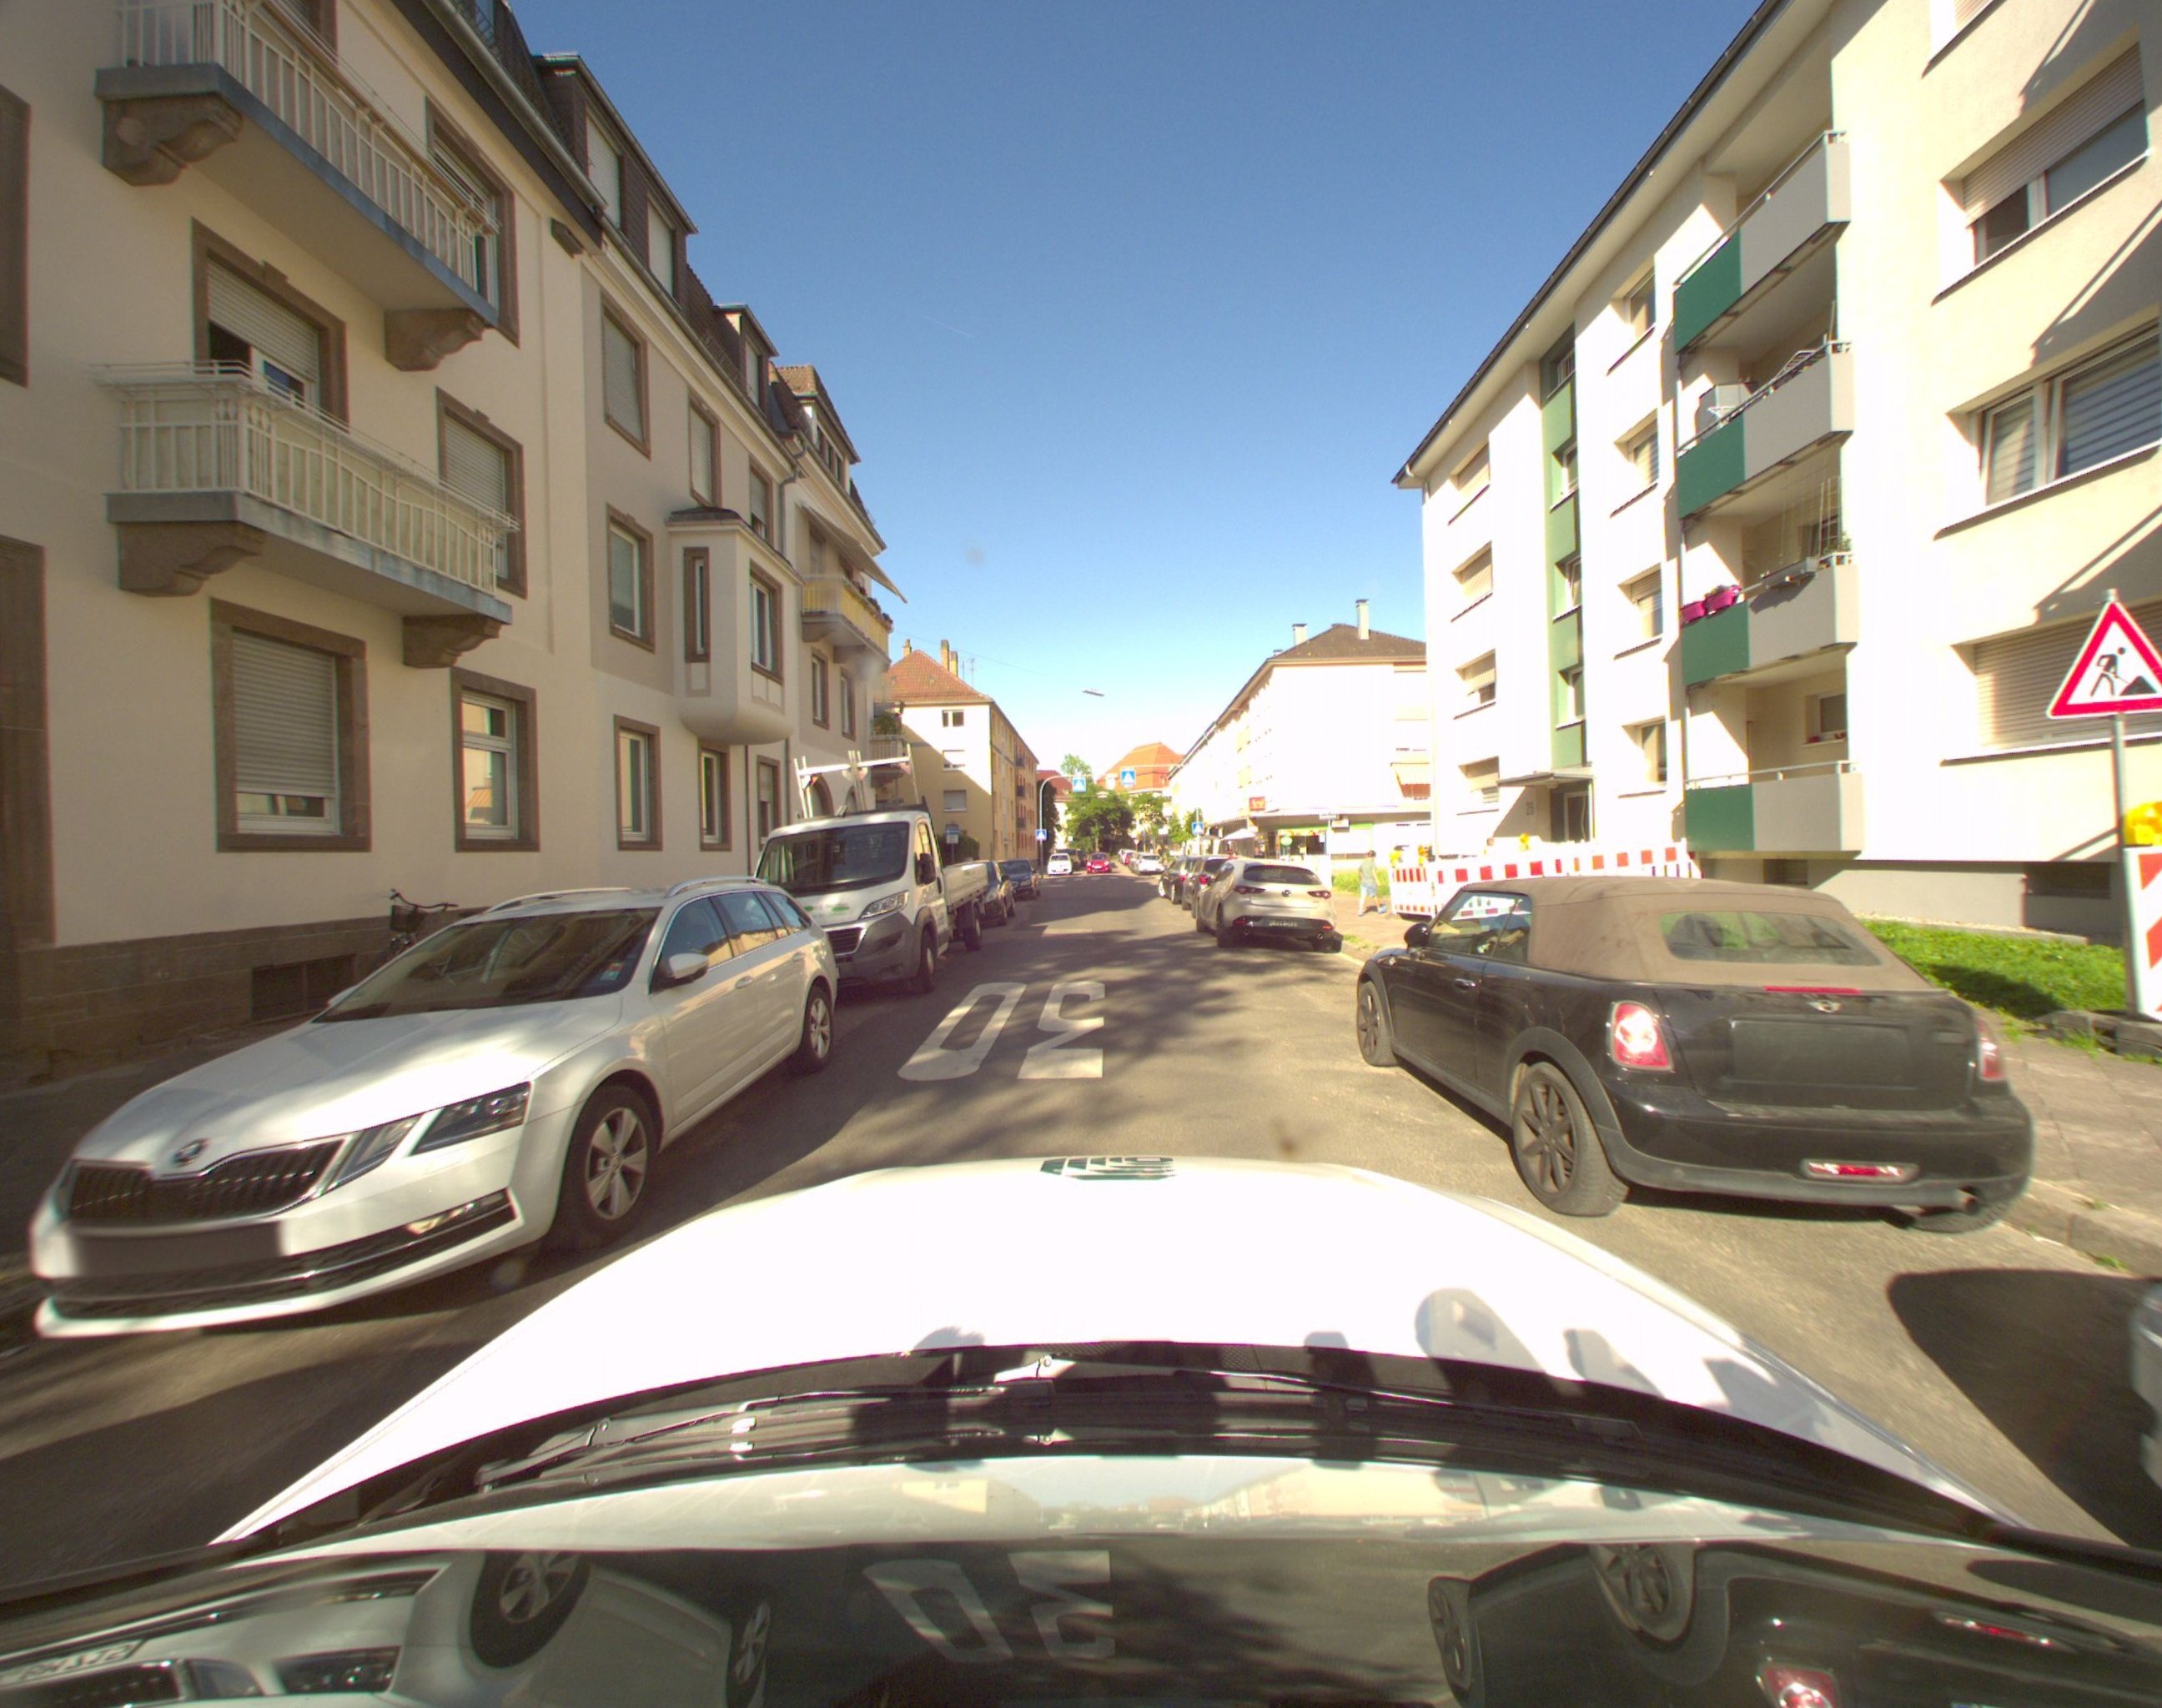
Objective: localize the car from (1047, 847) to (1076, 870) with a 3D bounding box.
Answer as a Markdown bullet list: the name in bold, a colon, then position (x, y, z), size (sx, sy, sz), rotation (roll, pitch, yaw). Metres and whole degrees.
- **car**: position (-1.352, 0.292, 57.538), size (1.785, 1.480, 4.101), rotation (-3, 1, 2)

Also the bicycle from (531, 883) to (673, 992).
- **bicycle**: position (-6.823, 1.126, 11.766), size (0.567, 1.279, 2.342), rotation (-2, 1, 2)

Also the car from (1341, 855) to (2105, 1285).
- **car**: position (2.882, 0.776, 4.734), size (1.681, 1.467, 3.584), rotation (2, 0, 2)

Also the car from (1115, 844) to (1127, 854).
- **car**: position (5.883, -0.711, 119.017), size (1.632, 1.440, 3.419), rotation (-1, 0, 1)

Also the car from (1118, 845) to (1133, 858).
- **car**: position (5.200, -0.255, 95.312), size (1.632, 1.440, 3.419), rotation (-1, 0, 1)

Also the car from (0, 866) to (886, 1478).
- **car**: position (-2.683, 1.028, 4.851), size (1.787, 1.540, 4.640), rotation (-7, 1, 0)

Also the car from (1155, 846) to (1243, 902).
- **car**: position (3.471, 0.549, 24.868), size (1.849, 1.523, 4.773), rotation (-1, 0, -2)

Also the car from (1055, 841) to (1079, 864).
- **car**: position (-1.135, -0.129, 67.787), size (1.691, 1.778, 4.101), rotation (-1, 0, 2)

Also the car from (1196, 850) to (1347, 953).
- **car**: position (3.174, 0.710, 14.458), size (1.785, 1.471, 4.341), rotation (2, 0, 2)

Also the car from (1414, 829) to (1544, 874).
- **car**: position (15.560, -0.116, 31.998), size (4.220, 1.613, 1.828), rotation (-1, 0, 7)

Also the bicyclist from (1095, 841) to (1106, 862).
- **bicyclist**: position (1.575, -0.198, 66.027), size (0.782, 1.621, 0.958), rotation (-3, 0, 6)

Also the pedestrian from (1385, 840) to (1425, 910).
- **pedestrian**: position (6.861, 0.443, 17.262), size (0.472, 1.433, 0.573), rotation (-3, 1, -20)

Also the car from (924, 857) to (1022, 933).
- **car**: position (-2.378, 0.863, 18.899), size (1.640, 1.416, 4.079), rotation (-6, 0, -1)

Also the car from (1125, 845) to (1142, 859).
- **car**: position (5.420, -0.229, 84.556), size (1.632, 1.440, 3.419), rotation (-1, 0, 1)

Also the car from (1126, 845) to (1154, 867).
- **car**: position (4.153, 0.118, 57.764), size (1.685, 1.440, 3.419), rotation (-1, 0, 0)

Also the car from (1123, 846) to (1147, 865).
- **car**: position (4.199, 0.120, 64.066), size (1.632, 1.440, 3.419), rotation (-1, 0, 0)

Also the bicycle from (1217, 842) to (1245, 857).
- **bicycle**: position (10.397, -0.307, 56.489), size (1.806, 0.967, 0.671), rotation (-2, 0, -9)

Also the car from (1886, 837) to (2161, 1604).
- **car**: position (2.947, 0.724, 0.202), size (1.681, 1.463, 3.817), rotation (1, 0, -1)

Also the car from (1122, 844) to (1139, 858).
- **car**: position (5.515, -0.363, 90.755), size (1.632, 1.440, 3.419), rotation (-1, 0, 1)

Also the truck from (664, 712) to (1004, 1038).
- **truck**: position (-2.812, 0.198, 11.758), size (2.252, 2.985, 7.276), rotation (-7, 0, 1)

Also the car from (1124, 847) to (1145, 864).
- **car**: position (4.753, 0.129, 72.828), size (1.632, 1.440, 3.419), rotation (-1, 0, 0)

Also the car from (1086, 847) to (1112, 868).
- **car**: position (1.271, 0.242, 58.166), size (1.693, 1.440, 3.416), rotation (-1, 0, -2)

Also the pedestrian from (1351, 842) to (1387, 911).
- **pedestrian**: position (6.212, 0.481, 17.575), size (0.453, 1.433, 0.502), rotation (-4, 1, -36)

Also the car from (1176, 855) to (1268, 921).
- **car**: position (3.348, 0.760, 20.036), size (1.639, 1.460, 3.940), rotation (-1, 0, 1)

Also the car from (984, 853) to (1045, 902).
- **car**: position (-2.221, 0.757, 28.220), size (1.699, 1.416, 4.372), rotation (-6, 0, -1)

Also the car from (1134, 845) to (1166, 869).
- **car**: position (4.489, 0.172, 53.098), size (1.839, 1.440, 3.420), rotation (-1, 0, 1)

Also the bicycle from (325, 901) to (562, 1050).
- **bicycle**: position (-6.751, 1.216, 8.840), size (0.627, 1.203, 2.342), rotation (-2, 1, 2)
